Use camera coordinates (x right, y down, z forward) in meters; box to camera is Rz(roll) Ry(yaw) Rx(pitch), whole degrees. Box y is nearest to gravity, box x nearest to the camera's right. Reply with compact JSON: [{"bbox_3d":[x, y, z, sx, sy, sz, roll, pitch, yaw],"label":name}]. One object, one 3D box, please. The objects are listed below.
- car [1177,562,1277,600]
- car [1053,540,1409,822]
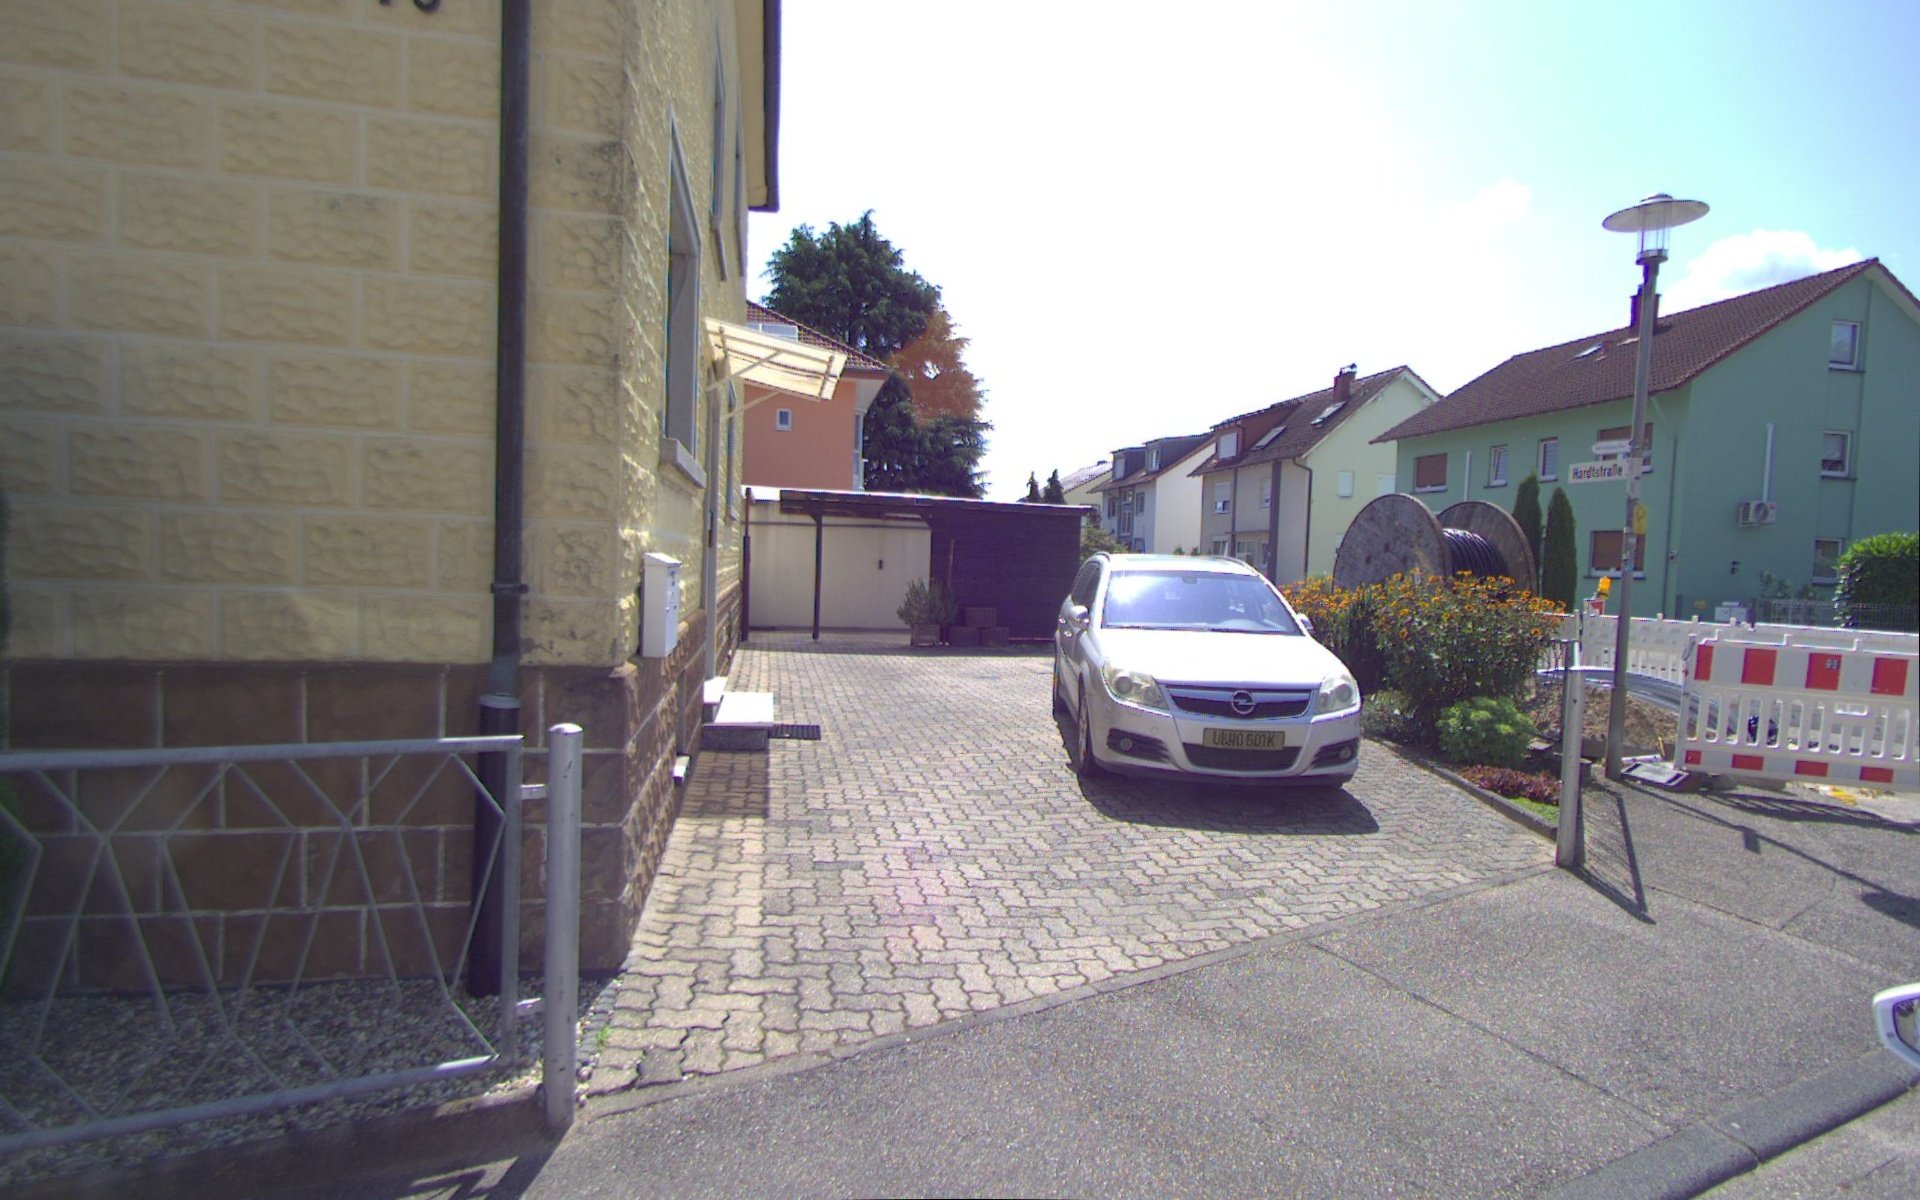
[{"bbox_3d":[11.716,-0.841,44.234,3.856,1.530,1.770,1,3,-11],"label":"car"},{"bbox_3d":[1.710,0.373,7.861,1.756,1.505,4.473,2,2,3],"label":"car"}]
